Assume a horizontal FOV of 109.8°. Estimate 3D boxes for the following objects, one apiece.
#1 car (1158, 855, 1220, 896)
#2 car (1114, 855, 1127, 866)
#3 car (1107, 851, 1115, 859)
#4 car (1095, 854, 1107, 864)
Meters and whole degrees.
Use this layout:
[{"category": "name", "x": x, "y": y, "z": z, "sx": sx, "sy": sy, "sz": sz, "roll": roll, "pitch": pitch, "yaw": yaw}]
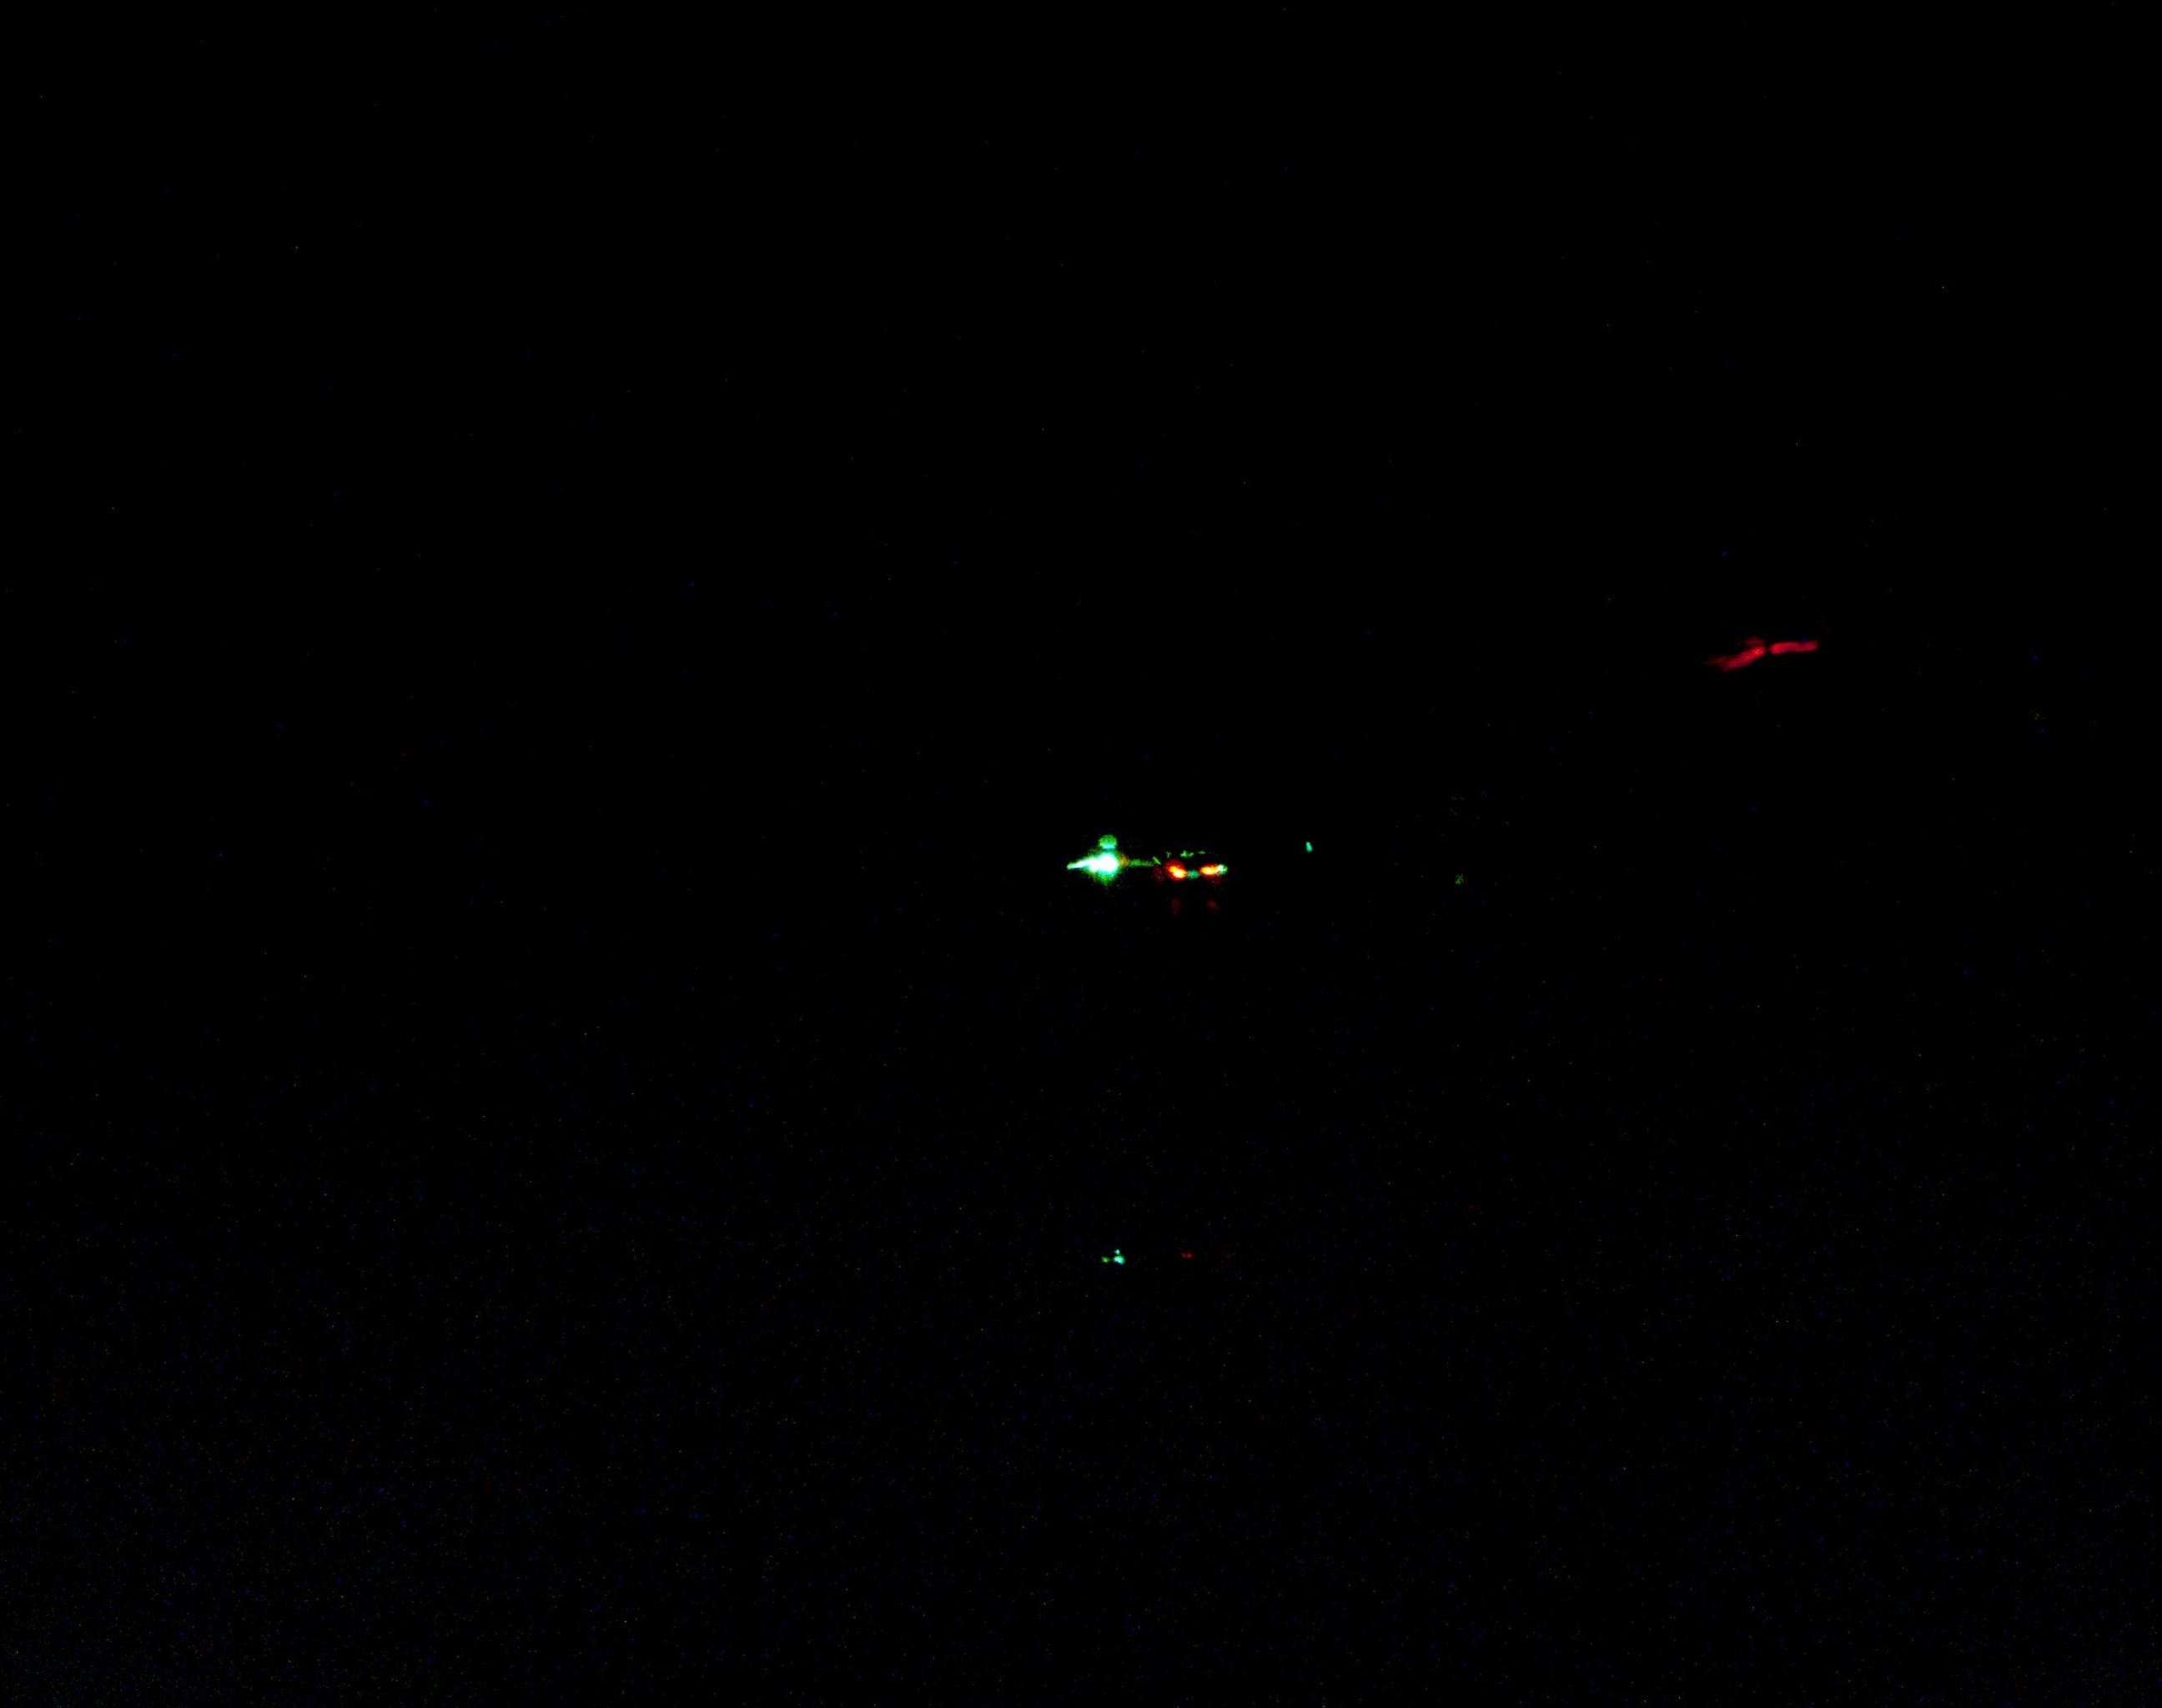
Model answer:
[{"category": "car", "x": 4.247, "y": 0.799, "z": 30.507, "sx": 1.872, "sy": 1.434, "sz": 4.463, "roll": -1, "pitch": 1, "yaw": 1}, {"category": "car", "x": 6.181, "y": 1.031, "z": 118.353, "sx": 1.783, "sy": 1.565, "sz": 4.000, "roll": -2, "pitch": 1, "yaw": 1}, {"category": "car", "x": 6.820, "y": 0.199, "z": 173.333, "sx": 1.783, "sy": 1.565, "sz": 4.000, "roll": -2, "pitch": 1, "yaw": 1}, {"category": "car", "x": 3.326, "y": 0.784, "z": 127.297, "sx": 1.824, "sy": 1.565, "sz": 4.106, "roll": -2, "pitch": 1, "yaw": 1}]
